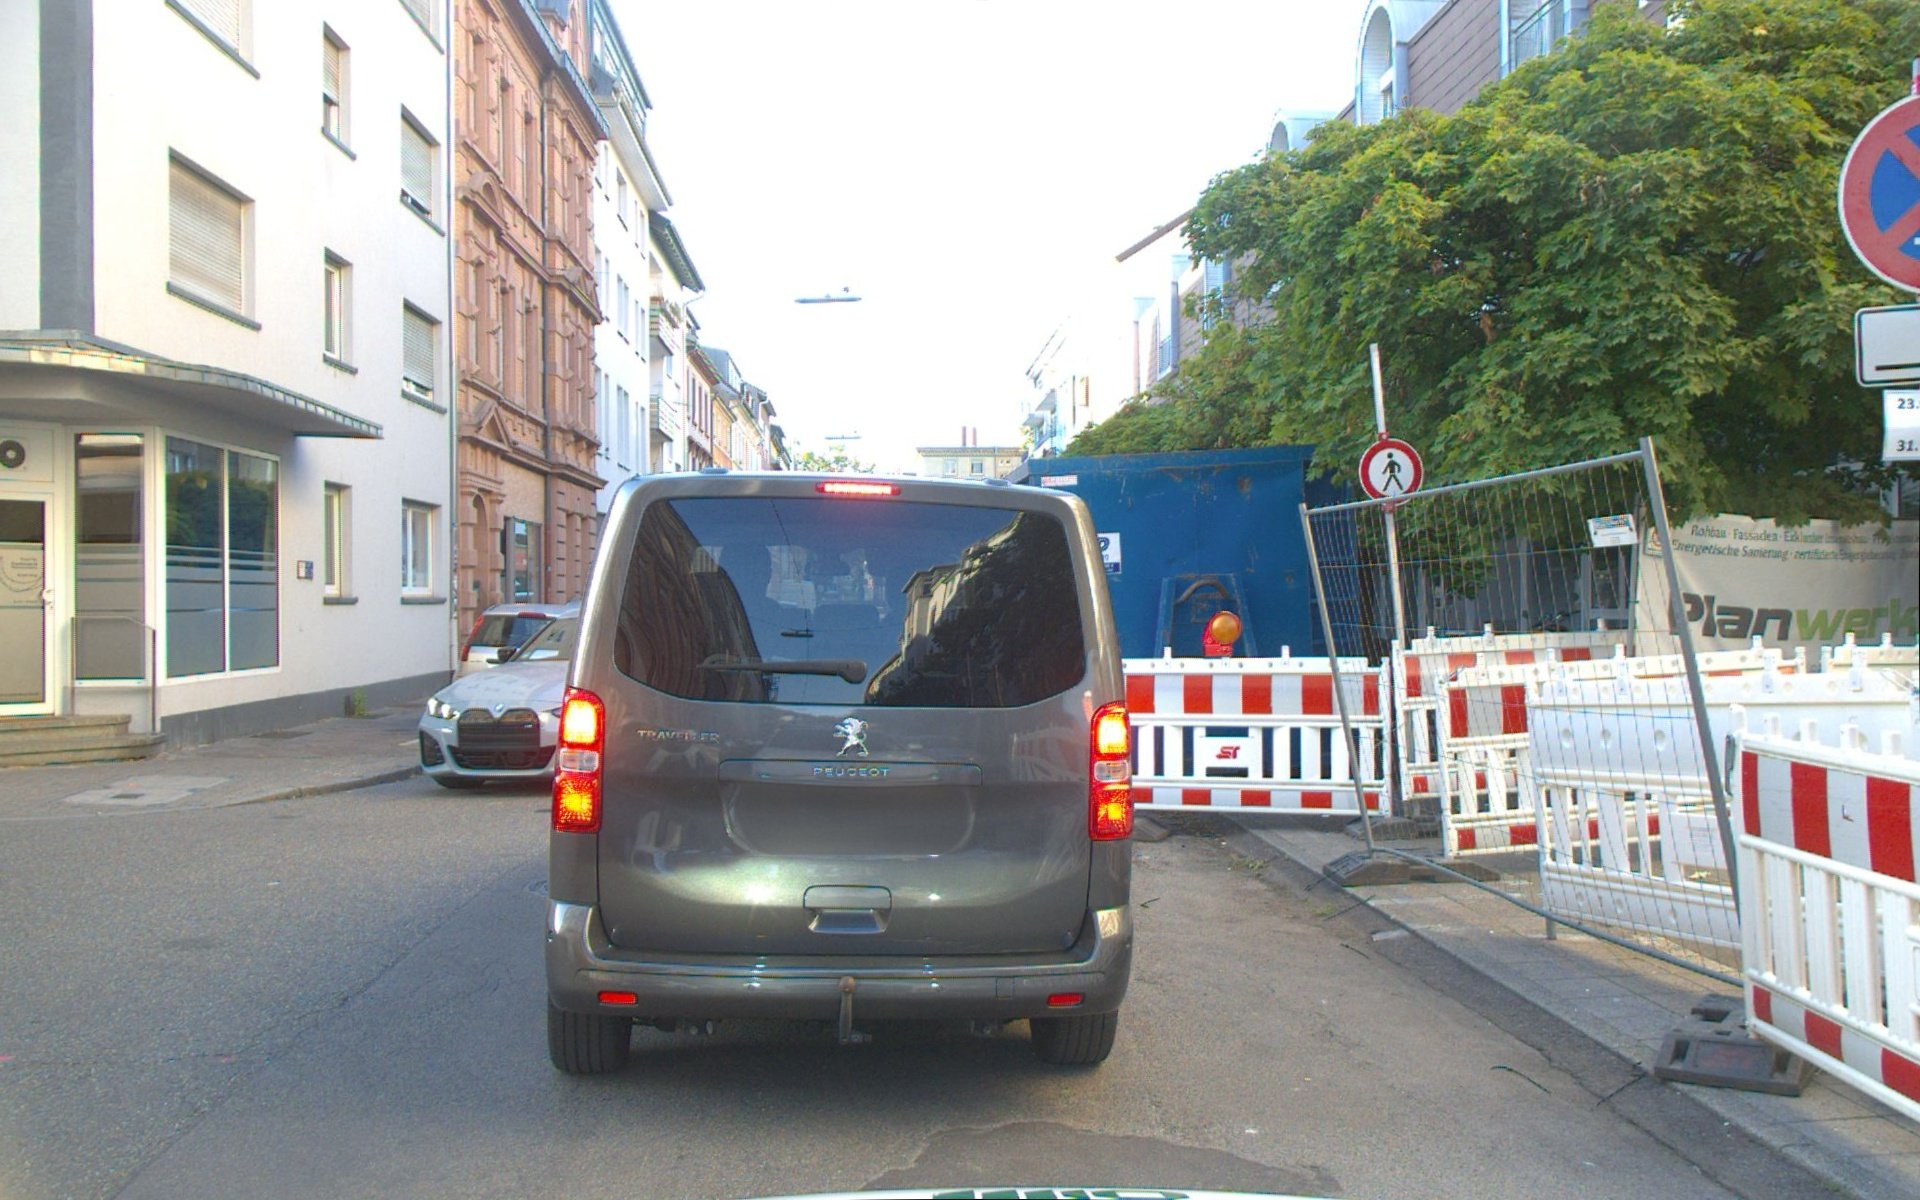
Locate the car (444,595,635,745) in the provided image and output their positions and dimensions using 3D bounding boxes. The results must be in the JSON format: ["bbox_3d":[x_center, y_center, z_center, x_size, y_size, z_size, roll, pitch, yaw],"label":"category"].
[{"bbox_3d":[-4.810,0.767,19.334,1.625,1.485,3.413,4,-1,-7],"label":"car"}]

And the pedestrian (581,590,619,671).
[{"bbox_3d":[-7.609,0.642,34.977,0.726,1.693,0.702,-1,0,-8],"label":"pedestrian"}]

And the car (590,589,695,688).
[{"bbox_3d":[-6.025,0.724,31.706,1.635,1.695,3.087,4,-1,-7],"label":"car"}]

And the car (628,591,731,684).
[{"bbox_3d":[-5.940,0.776,35.352,1.856,1.749,3.748,4,-1,-7],"label":"car"}]

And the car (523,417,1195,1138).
[{"bbox_3d":[-0.492,0.495,6.628,1.829,1.919,4.229,0,-1,-7],"label":"car"}]

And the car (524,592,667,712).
[{"bbox_3d":[-5.351,0.738,24.635,1.625,1.552,3.413,4,-1,-7],"label":"car"}]

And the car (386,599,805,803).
[{"bbox_3d":[-2.968,0.750,14.719,1.886,1.477,4.815,0,0,11],"label":"car"}]
